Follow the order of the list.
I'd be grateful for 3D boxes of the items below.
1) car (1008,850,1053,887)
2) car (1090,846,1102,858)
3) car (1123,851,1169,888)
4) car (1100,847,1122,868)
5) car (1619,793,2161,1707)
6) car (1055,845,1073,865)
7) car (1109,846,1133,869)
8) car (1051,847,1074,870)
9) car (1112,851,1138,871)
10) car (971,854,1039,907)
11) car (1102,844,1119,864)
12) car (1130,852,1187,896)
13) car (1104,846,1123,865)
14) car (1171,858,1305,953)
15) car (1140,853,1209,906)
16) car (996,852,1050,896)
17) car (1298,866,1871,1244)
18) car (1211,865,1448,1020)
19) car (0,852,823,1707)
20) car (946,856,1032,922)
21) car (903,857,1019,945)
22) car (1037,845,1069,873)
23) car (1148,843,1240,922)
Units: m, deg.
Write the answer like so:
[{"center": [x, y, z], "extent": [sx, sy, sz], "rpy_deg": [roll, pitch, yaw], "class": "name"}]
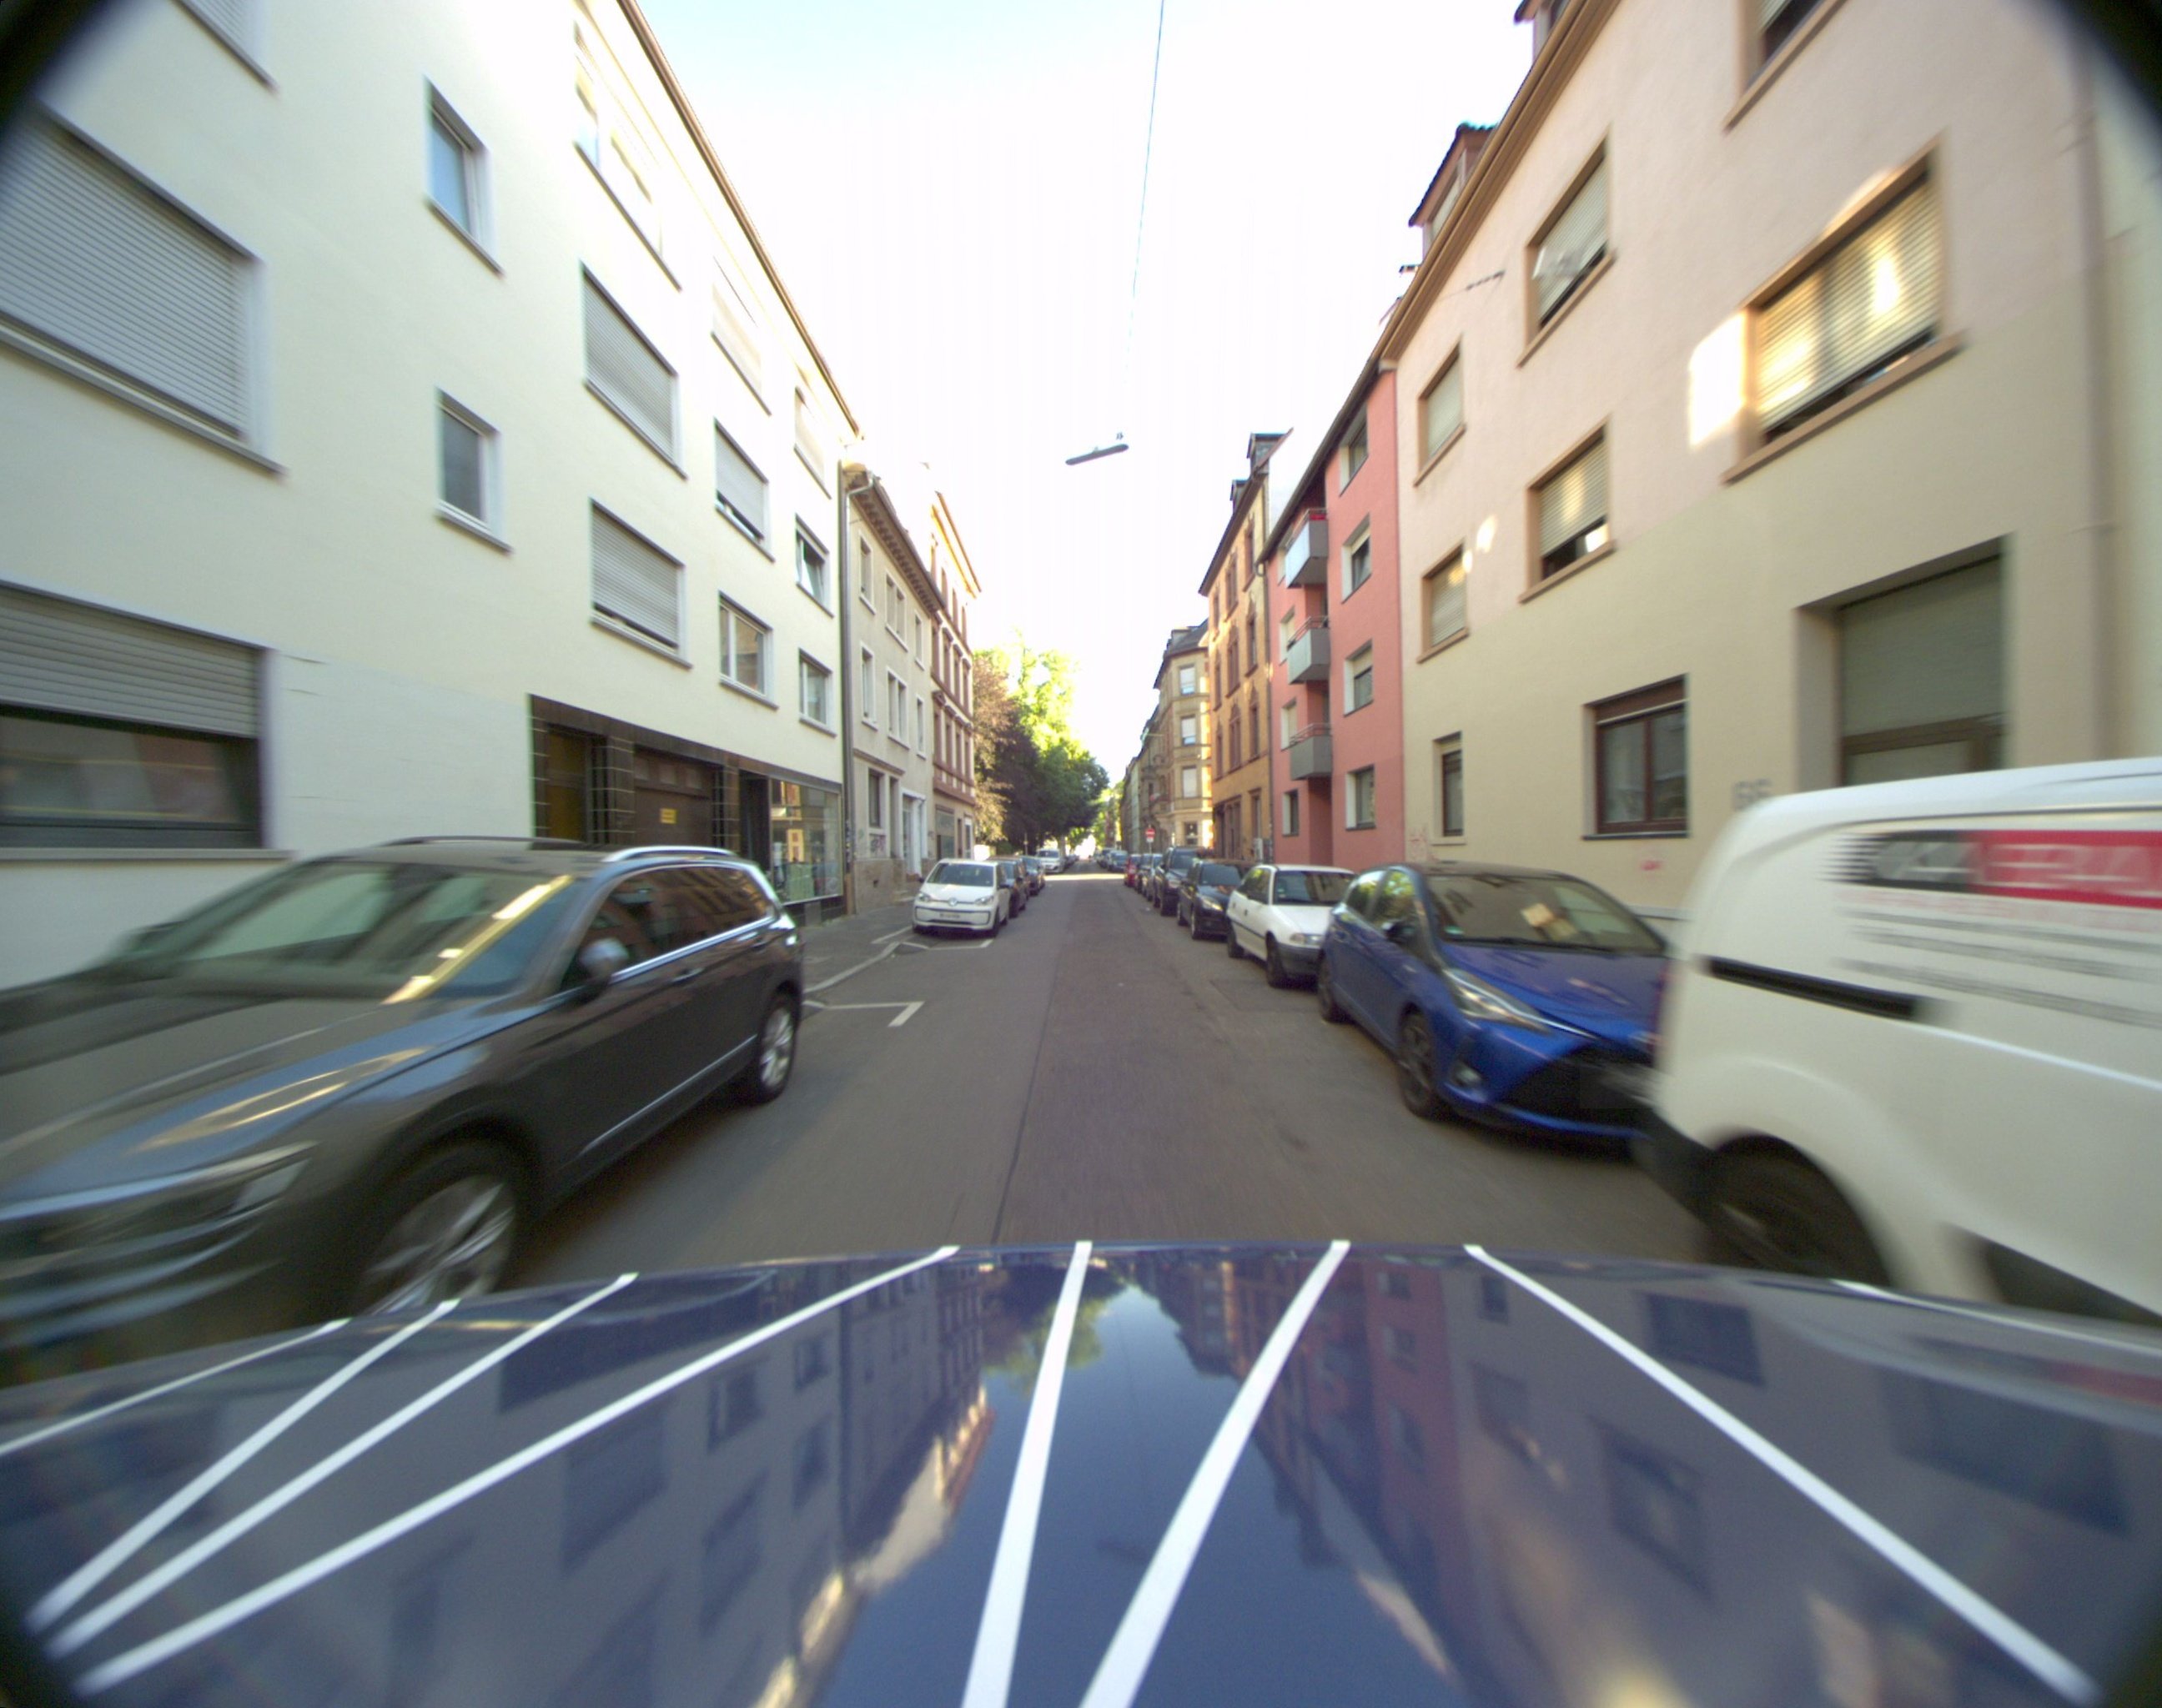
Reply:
[{"center": [-2.287, 0.639, 35.613], "extent": [1.768, 1.524, 4.102], "rpy_deg": [2, 1, 0], "class": "car"}, {"center": [2.582, -0.395, 129.980], "extent": [1.998, 2.002, 4.000], "rpy_deg": [-1, 1, 1], "class": "car"}, {"center": [2.938, 0.687, 35.135], "extent": [1.768, 1.524, 4.102], "rpy_deg": [2, 1, 0], "class": "car"}, {"center": [2.666, 0.304, 68.344], "extent": [1.768, 1.784, 3.992], "rpy_deg": [2, 1, 0], "class": "car"}, {"center": [2.833, 0.794, 0.522], "extent": [1.754, 1.731, 4.314], "rpy_deg": [2, 1, -1], "class": "car"}, {"center": [-1.840, 0.088, 82.730], "extent": [1.768, 2.006, 4.263], "rpy_deg": [2, 1, 0], "class": "car"}, {"center": [3.310, 0.272, 64.038], "extent": [1.768, 1.846, 3.992], "rpy_deg": [2, 1, 0], "class": "car"}, {"center": [-1.555, 0.345, 64.074], "extent": [1.768, 1.846, 4.285], "rpy_deg": [-1, 1, 0], "class": "car"}, {"center": [3.377, 0.520, 58.663], "extent": [1.768, 1.463, 3.932], "rpy_deg": [2, 1, 0], "class": "car"}, {"center": [-2.412, 0.786, 25.020], "extent": [1.768, 1.524, 4.102], "rpy_deg": [1, 1, 0], "class": "car"}, {"center": [3.286, -0.024, 84.810], "extent": [1.768, 2.075, 4.263], "rpy_deg": [2, 1, 0], "class": "car"}, {"center": [2.957, 0.721, 29.658], "extent": [1.768, 1.524, 4.102], "rpy_deg": [2, 1, 0], "class": "car"}, {"center": [3.335, 0.129, 78.108], "extent": [1.768, 1.915, 4.263], "rpy_deg": [2, 1, 0], "class": "car"}, {"center": [2.842, 0.870, 14.571], "extent": [1.768, 1.464, 3.815], "rpy_deg": [2, 1, 0], "class": "car"}, {"center": [2.965, 0.752, 24.874], "extent": [1.768, 1.524, 4.102], "rpy_deg": [1, 1, 0], "class": "car"}, {"center": [-2.232, 0.747, 30.169], "extent": [1.768, 1.524, 4.102], "rpy_deg": [2, 1, 0], "class": "car"}, {"center": [2.812, 0.922, 5.460], "extent": [1.674, 1.519, 4.086], "rpy_deg": [2, 1, 6], "class": "car"}, {"center": [2.912, 0.943, 9.872], "extent": [1.675, 1.450, 4.084], "rpy_deg": [2, 1, 0], "class": "car"}, {"center": [-2.868, 0.872, 3.397], "extent": [1.886, 1.657, 4.327], "rpy_deg": [2, 1, 0], "class": "car"}, {"center": [-2.383, 0.854, 20.556], "extent": [1.768, 1.524, 4.102], "rpy_deg": [1, 1, 0], "class": "car"}, {"center": [-2.399, 0.889, 16.167], "extent": [1.768, 1.508, 4.102], "rpy_deg": [2, 1, 0], "class": "car"}, {"center": [-2.091, 0.314, 57.477], "extent": [1.865, 1.970, 4.481], "rpy_deg": [2, 1, 4], "class": "car"}, {"center": [2.845, 0.647, 19.918], "extent": [1.768, 1.814, 4.102], "rpy_deg": [2, 1, 0], "class": "car"}]
